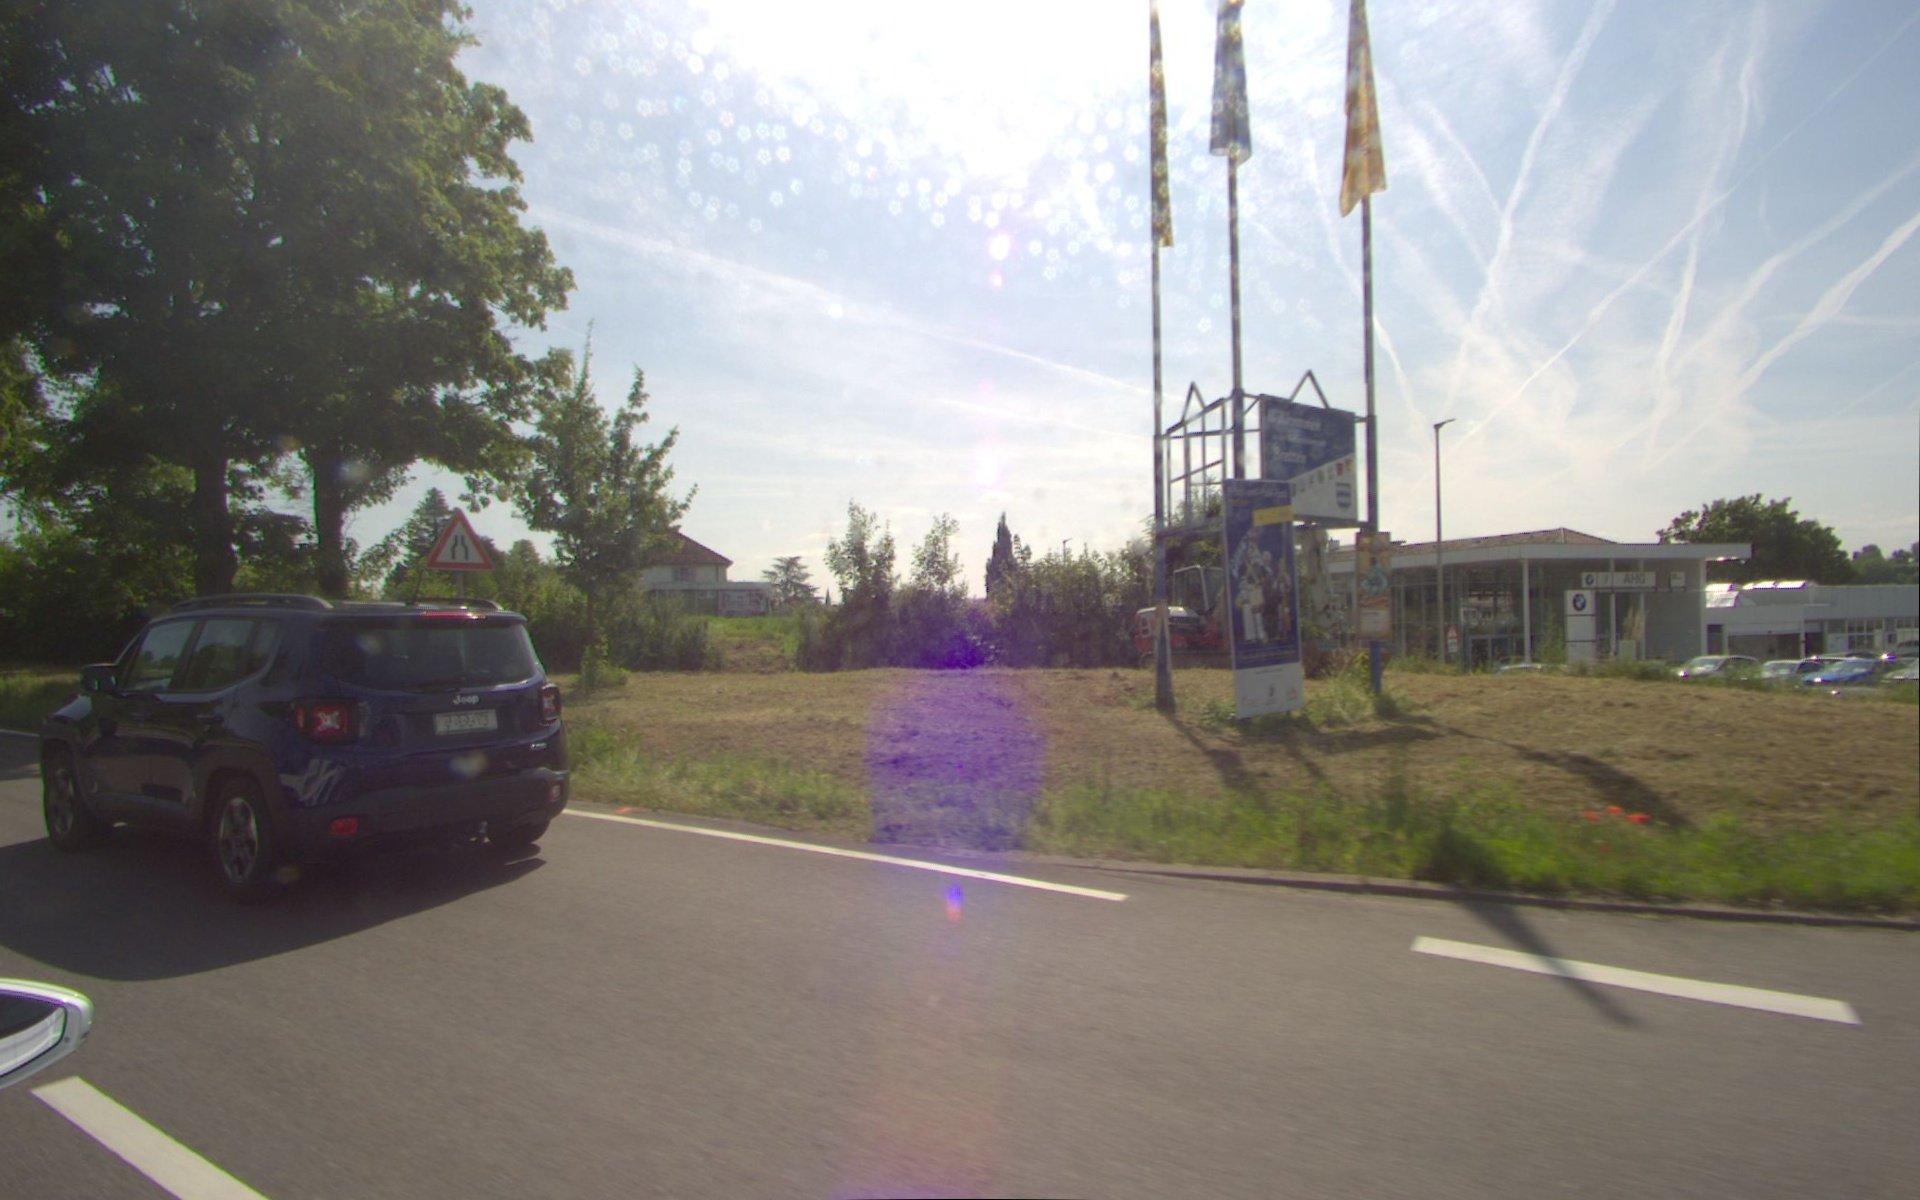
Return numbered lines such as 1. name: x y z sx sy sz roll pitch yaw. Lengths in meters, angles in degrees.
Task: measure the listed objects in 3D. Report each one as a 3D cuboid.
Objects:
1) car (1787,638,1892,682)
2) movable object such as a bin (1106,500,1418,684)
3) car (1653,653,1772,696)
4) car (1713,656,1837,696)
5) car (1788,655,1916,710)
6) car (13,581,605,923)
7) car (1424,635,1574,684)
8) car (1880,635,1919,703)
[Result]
1. car: 37.553 2.522 42.751 4.018 1.639 2.000 -1 0 -27
2. movable object such as a bin: 6.009 -0.139 21.246 2.852 3.250 6.687 -2 0 -21
3. car: 29.909 2.914 39.832 3.932 1.391 1.995 -1 0 -20
4. car: 30.576 2.813 37.565 3.933 1.205 1.994 -1 0 -22
5. car: 31.433 2.859 35.296 3.936 1.572 1.993 -1 0 -25
6. car: -4.425 0.780 6.690 3.942 1.676 1.767 -1 0 31
7. car: 17.894 1.951 33.499 1.964 1.478 4.317 -2 -2 -15
8. car: 32.363 2.214 32.653 4.015 2.062 2.061 -1 0 -24
